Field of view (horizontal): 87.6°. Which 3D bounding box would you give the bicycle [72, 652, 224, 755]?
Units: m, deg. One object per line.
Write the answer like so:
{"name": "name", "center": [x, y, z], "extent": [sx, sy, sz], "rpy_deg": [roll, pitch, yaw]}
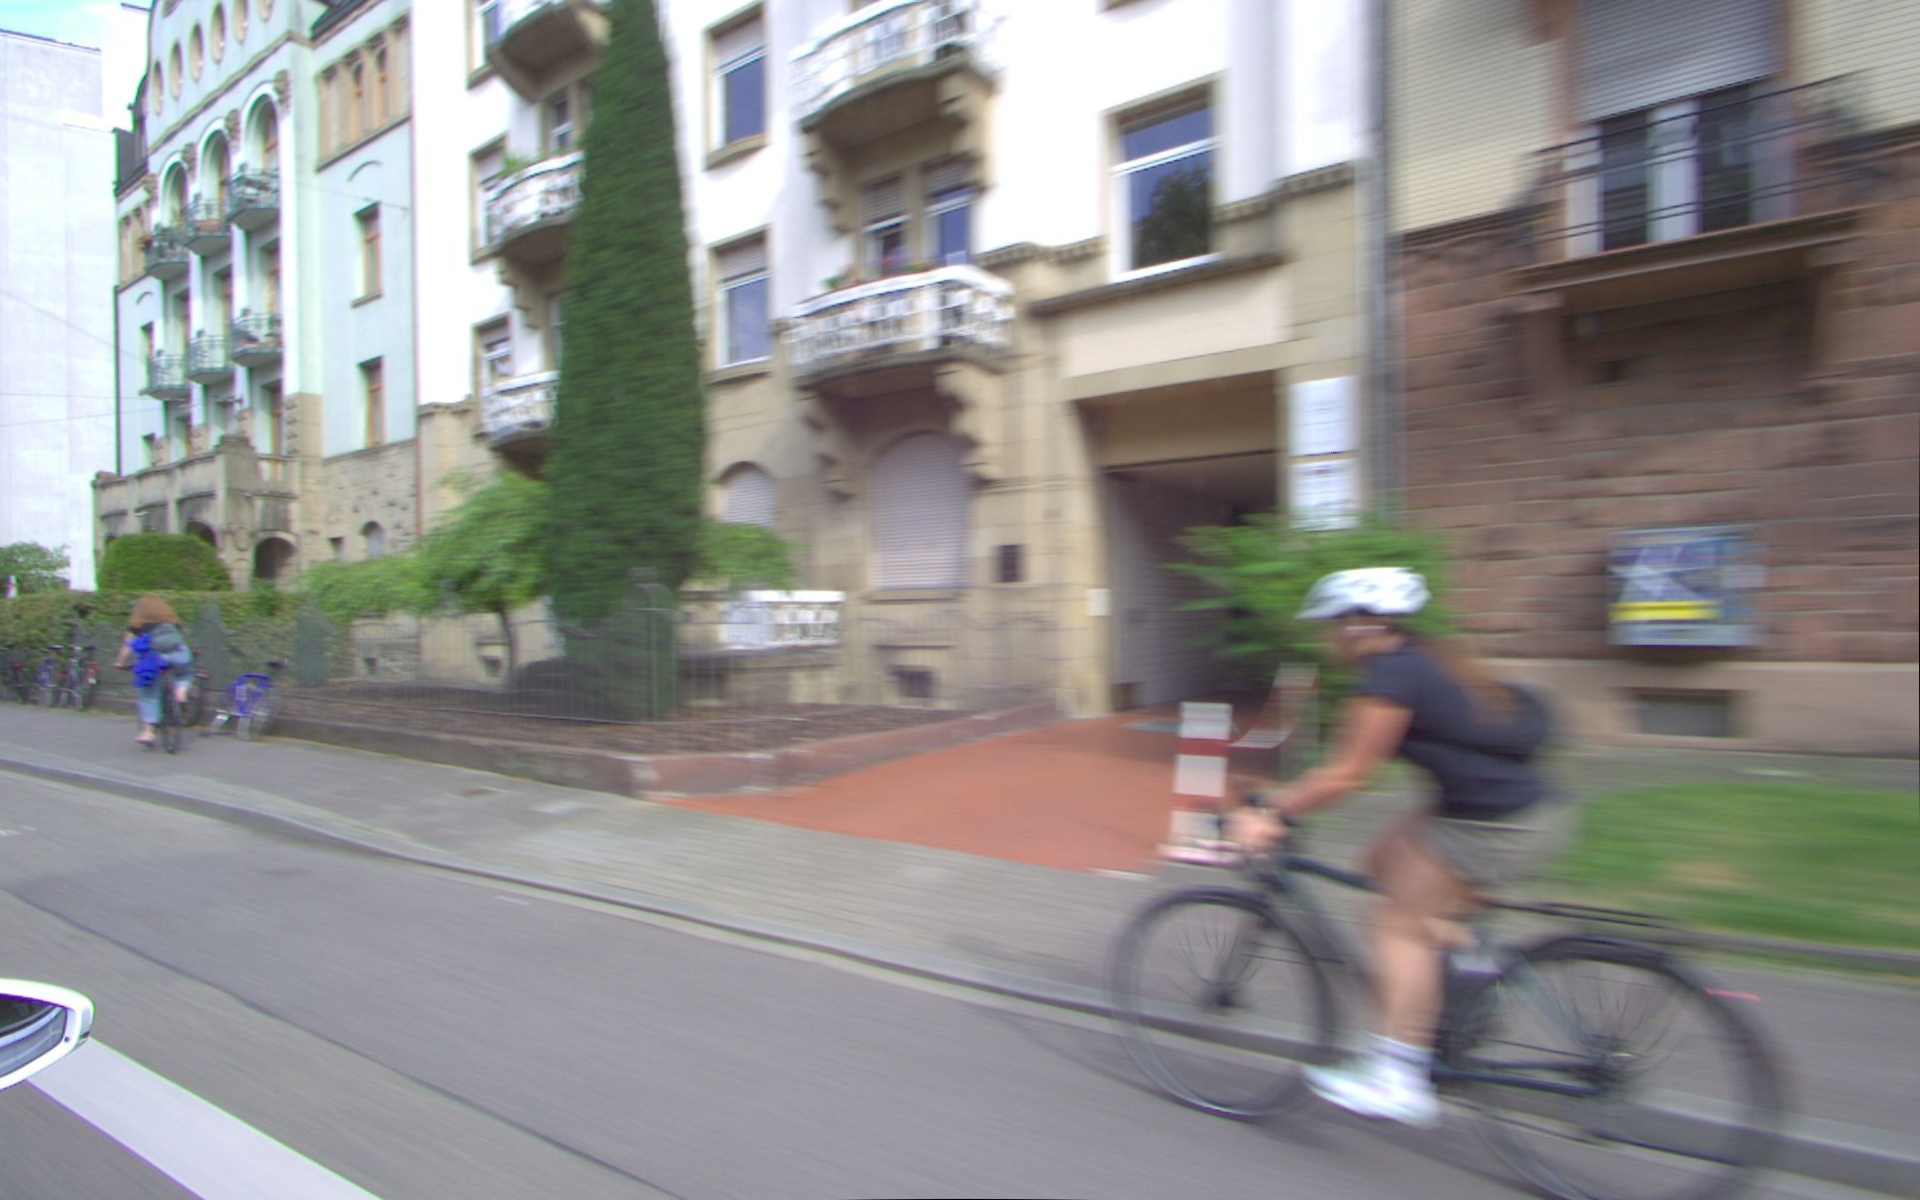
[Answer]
{"name": "bicycle", "center": [-9.102, 1.120, 11.204], "extent": [2.007, 0.975, 0.686], "rpy_deg": [-1, 3, 33]}

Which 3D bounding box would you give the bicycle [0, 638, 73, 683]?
{"name": "bicycle", "center": [-20.830, 1.340, 22.194], "extent": [0.480, 0.919, 1.655], "rpy_deg": [-1, 0, 33]}

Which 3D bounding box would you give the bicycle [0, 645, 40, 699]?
{"name": "bicycle", "center": [-17.092, 1.277, 18.039], "extent": [1.644, 0.919, 0.484], "rpy_deg": [-2, 0, 38]}

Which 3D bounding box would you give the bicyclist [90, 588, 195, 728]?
{"name": "bicyclist", "center": [-9.140, 0.620, 11.201], "extent": [0.789, 1.490, 0.646], "rpy_deg": [0, 2, 33]}

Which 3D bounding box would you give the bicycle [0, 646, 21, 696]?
{"name": "bicycle", "center": [-18.654, 1.347, 19.096], "extent": [1.637, 0.919, 0.486], "rpy_deg": [-1, 0, 24]}

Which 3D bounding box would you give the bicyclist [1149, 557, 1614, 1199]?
{"name": "bicyclist", "center": [1.168, 0.719, 2.805], "extent": [1.095, 1.590, 0.637], "rpy_deg": [0, -2, 33]}

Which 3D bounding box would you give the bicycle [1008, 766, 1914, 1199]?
{"name": "bicycle", "center": [1.179, 1.072, 2.787], "extent": [2.042, 0.993, 0.637], "rpy_deg": [-1, -2, 33]}

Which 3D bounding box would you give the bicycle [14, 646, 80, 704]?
{"name": "bicycle", "center": [-15.600, 1.262, 17.099], "extent": [1.643, 0.919, 0.484], "rpy_deg": [-2, 0, 36]}

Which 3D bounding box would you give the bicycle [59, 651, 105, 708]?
{"name": "bicycle", "center": [-14.122, 1.267, 16.094], "extent": [1.182, 0.864, 0.277], "rpy_deg": [-1, 0, 36]}

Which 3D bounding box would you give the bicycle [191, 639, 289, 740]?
{"name": "bicycle", "center": [-8.643, 1.040, 11.996], "extent": [1.736, 1.117, 0.390], "rpy_deg": [-1, 1, 35]}

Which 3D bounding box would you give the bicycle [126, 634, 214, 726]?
{"name": "bicycle", "center": [-10.770, 1.050, 13.629], "extent": [1.895, 1.157, 0.390], "rpy_deg": [-1, 1, 35]}
